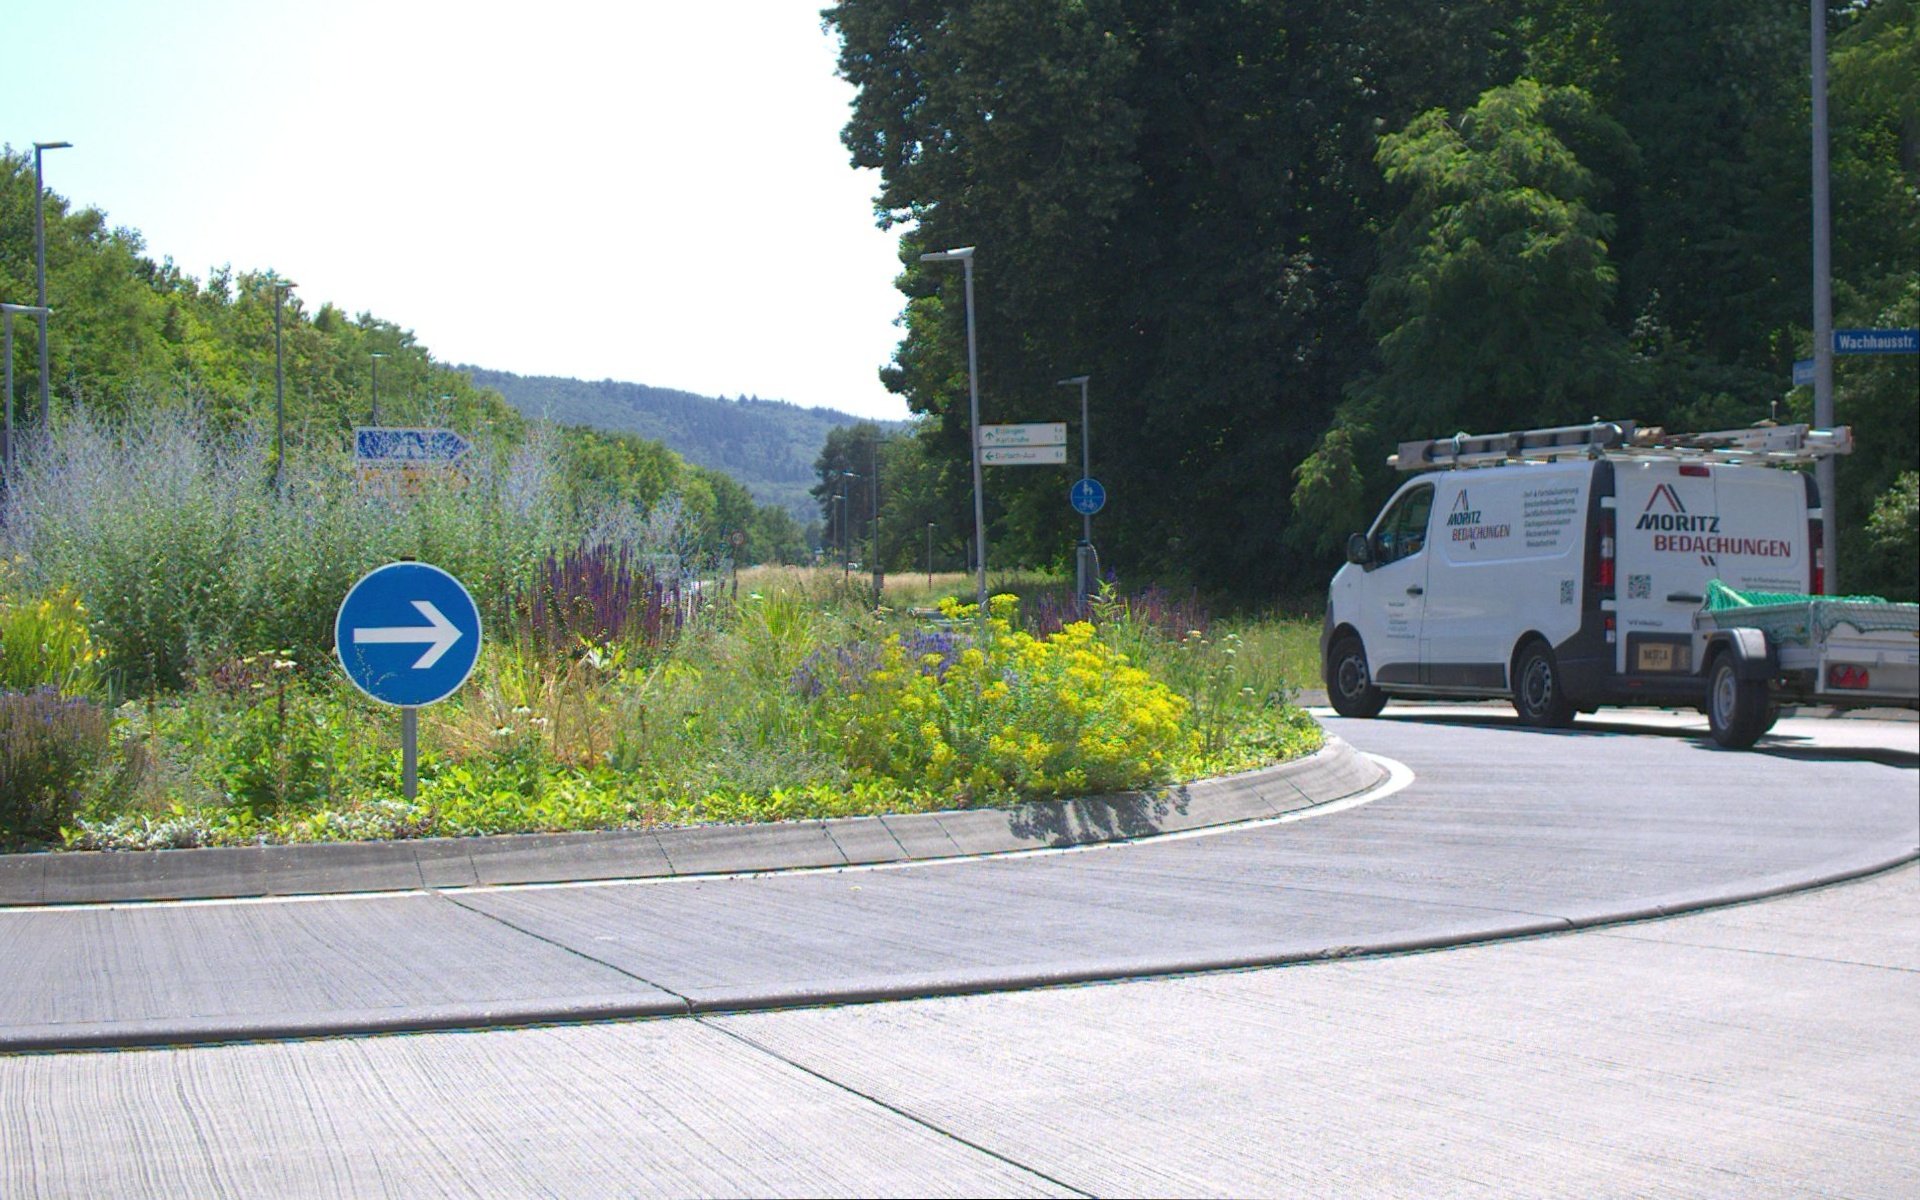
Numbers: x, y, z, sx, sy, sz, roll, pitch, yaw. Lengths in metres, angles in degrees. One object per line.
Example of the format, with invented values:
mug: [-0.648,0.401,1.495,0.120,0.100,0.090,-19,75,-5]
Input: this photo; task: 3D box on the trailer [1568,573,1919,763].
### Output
trailer: [5.545,0.384,21.722,2.121,1.093,3.355,0,0,-15]

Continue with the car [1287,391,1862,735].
car: [4.433,-0.258,25.765,2.165,2.308,4.983,0,0,-18]
